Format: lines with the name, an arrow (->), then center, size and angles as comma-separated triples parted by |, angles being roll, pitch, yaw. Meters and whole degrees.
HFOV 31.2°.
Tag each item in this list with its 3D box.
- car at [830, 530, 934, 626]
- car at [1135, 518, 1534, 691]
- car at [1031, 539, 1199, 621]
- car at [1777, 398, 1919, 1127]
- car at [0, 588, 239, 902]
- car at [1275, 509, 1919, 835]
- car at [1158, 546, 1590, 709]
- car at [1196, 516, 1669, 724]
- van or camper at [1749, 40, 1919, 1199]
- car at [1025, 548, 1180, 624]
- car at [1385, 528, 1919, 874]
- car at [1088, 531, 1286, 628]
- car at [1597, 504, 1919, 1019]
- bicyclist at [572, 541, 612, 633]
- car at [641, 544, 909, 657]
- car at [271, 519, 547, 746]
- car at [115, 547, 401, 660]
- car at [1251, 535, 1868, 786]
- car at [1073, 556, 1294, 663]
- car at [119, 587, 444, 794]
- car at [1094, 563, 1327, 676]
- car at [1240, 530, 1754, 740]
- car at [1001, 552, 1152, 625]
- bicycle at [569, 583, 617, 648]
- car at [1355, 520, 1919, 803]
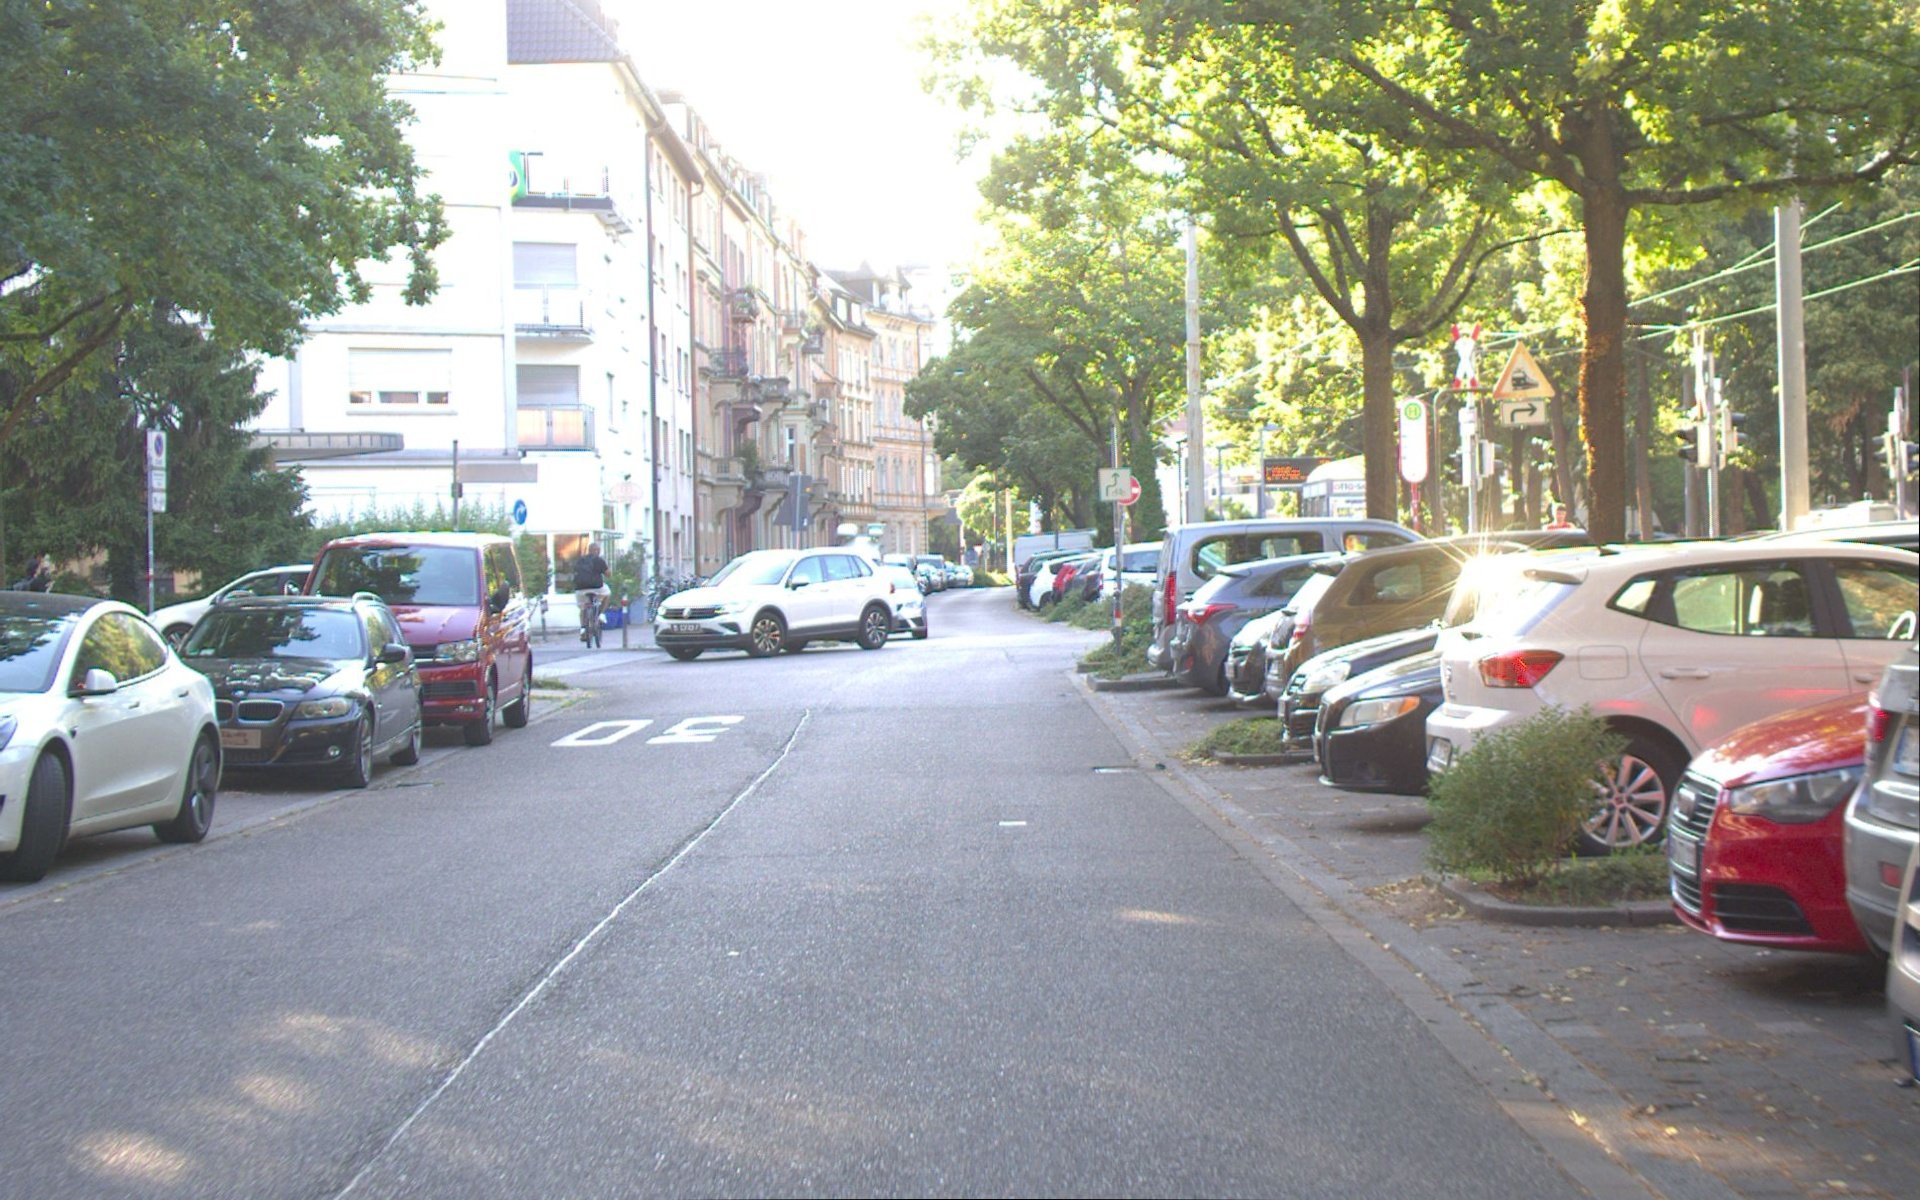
car -> -1.551, -0.407, 68.681 | 1.993, 1.832, 4.000 | 0, -1, -1
car -> 3.946, 0.057, 36.667 | 3.986, 1.788, 1.859 | 0, -1, -2
car -> 3.943, -0.480, 87.300 | 3.989, 2.007, 1.999 | 0, -1, 12
car -> 4.358, 0.391, 8.947 | 3.986, 1.811, 1.859 | 0, 1, -2
car -> -5.326, 0.688, 18.582 | 1.756, 1.461, 4.267 | 0, 1, 3
car -> 4.055, 0.387, 18.996 | 4.389, 1.694, 1.859 | 0, -1, -2
car -> 4.039, 0.277, 33.994 | 3.986, 1.558, 1.859 | 0, -1, -2
car -> 4.248, 0.187, 31.319 | 3.986, 1.819, 1.859 | 0, -1, -2
van or camper -> 4.230, 0.162, 6.380 | 4.981, 2.369, 2.185 | 0, -1, -1
car -> 3.916, -0.374, 94.159 | 3.989, 2.007, 1.999 | 0, -1, 12
car -> 4.168, 0.460, 16.379 | 3.986, 1.543, 1.859 | 0, -1, -2
car -> 4.885, -0.411, 73.694 | 3.989, 2.007, 1.999 | 0, -1, 12
car -> 4.292, 0.490, 11.321 | 3.986, 1.543, 1.859 | 0, -1, -2
bicyclist -> -6.349, -0.215, 59.348 | 0.627, 1.568, 0.802 | 0, -1, -1
car -> -2.806, -0.019, 53.108 | 1.782, 1.668, 4.478 | 0, 1, 34
car -> -5.166, 0.264, 32.771 | 1.957, 2.011, 4.268 | 0, 1, 0
car -> -10.823, 0.073, 53.196 | 3.987, 1.700, 2.000 | 0, -1, 1
car -> 4.172, 0.422, 24.360 | 3.986, 1.694, 1.859 | 0, -1, -2
car -> 4.313, 0.198, 66.147 | 3.989, 2.007, 1.999 | 0, -1, 12
car -> -5.275, 0.652, 27.241 | 1.756, 1.461, 4.268 | 0, 1, 0
car -> 4.581, 0.372, 62.604 | 3.989, 2.007, 1.999 | 0, -1, 12
car -> 4.466, 0.297, 29.019 | 3.986, 1.694, 1.859 | 0, -1, -2
car -> 3.326, -0.316, 97.697 | 3.989, 2.007, 1.999 | 0, -1, 12
bicycle -> -6.340, 0.282, 59.445 | 0.641, 1.096, 1.944 | 0, -1, -1
car -> 4.629, 0.378, 21.703 | 3.986, 1.694, 1.859 | 0, -1, -2
